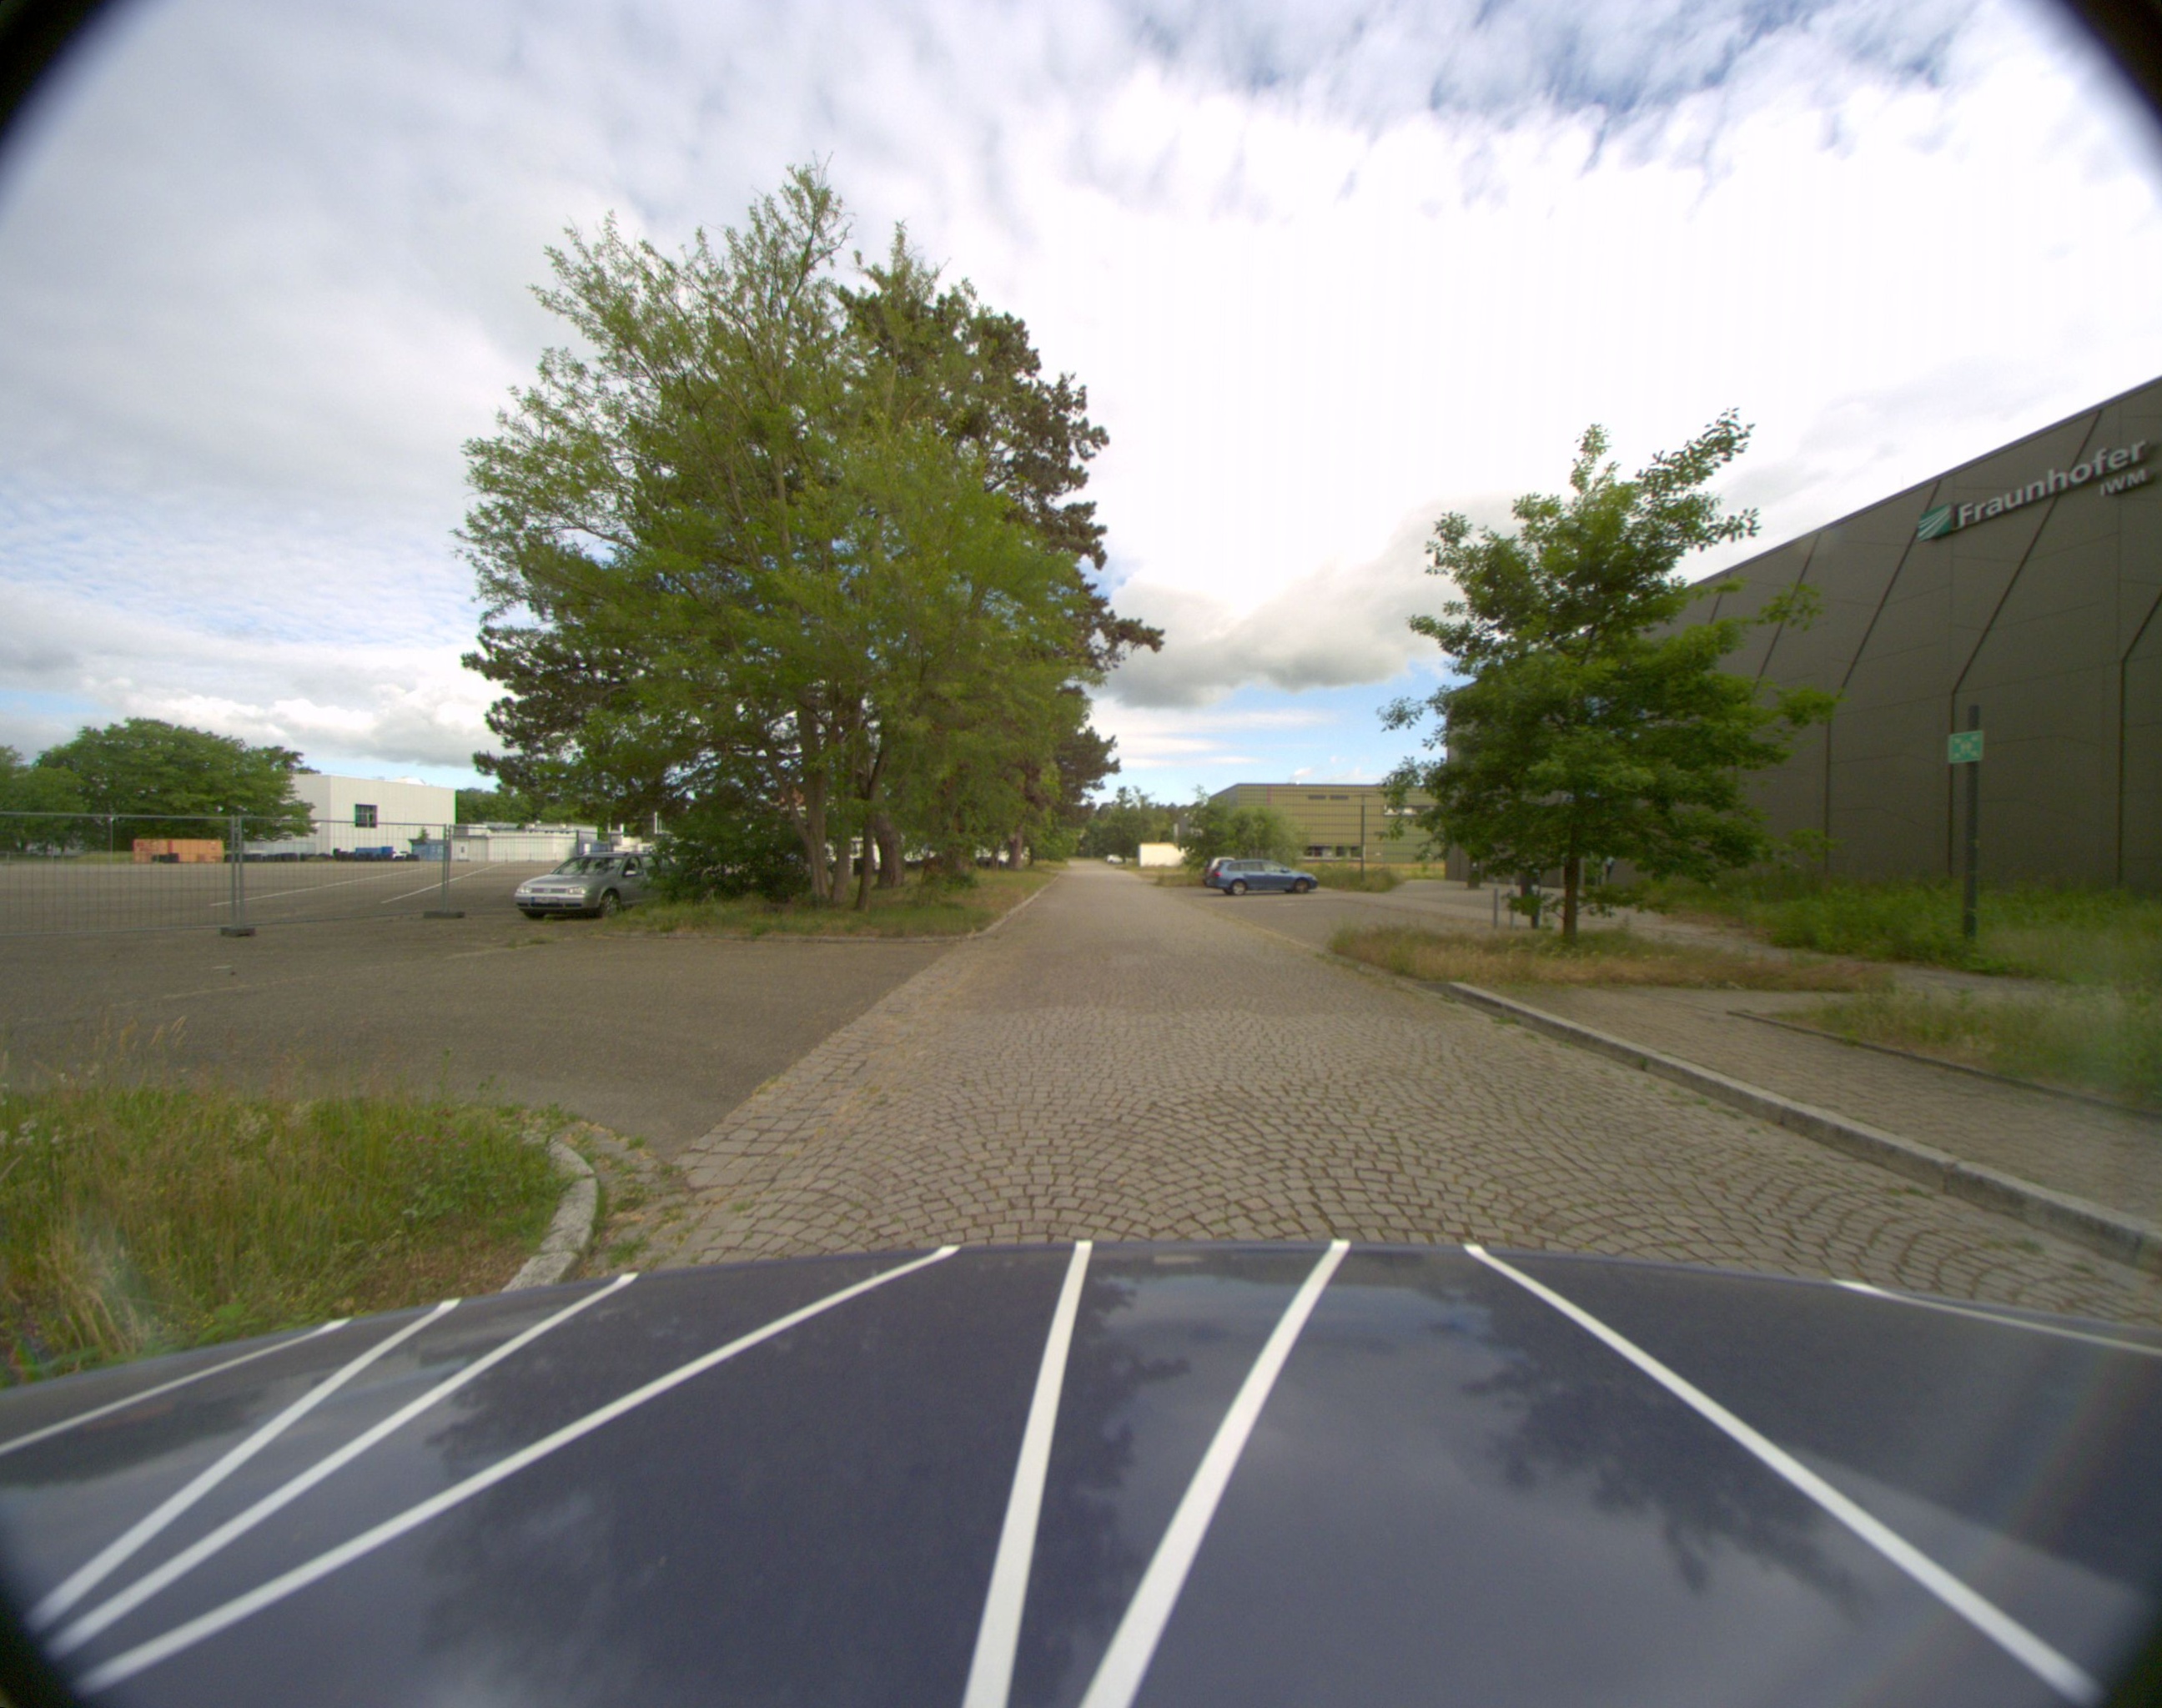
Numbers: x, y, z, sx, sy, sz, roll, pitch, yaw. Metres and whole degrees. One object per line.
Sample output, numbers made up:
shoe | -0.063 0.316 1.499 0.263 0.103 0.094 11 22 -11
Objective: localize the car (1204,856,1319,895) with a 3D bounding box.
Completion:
car | 7.577 0.898 32.058 4.427 1.461 1.633 -2 1 -2

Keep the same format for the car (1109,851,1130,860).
car | 7.614 0.246 151.857 4.062 1.767 1.792 0 1 0

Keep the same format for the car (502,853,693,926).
car | -10.973 0.727 17.695 1.678 1.442 4.488 0 1 -2

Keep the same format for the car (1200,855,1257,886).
car | 7.635 0.830 39.427 2.584 1.521 1.500 -2 1 -2
